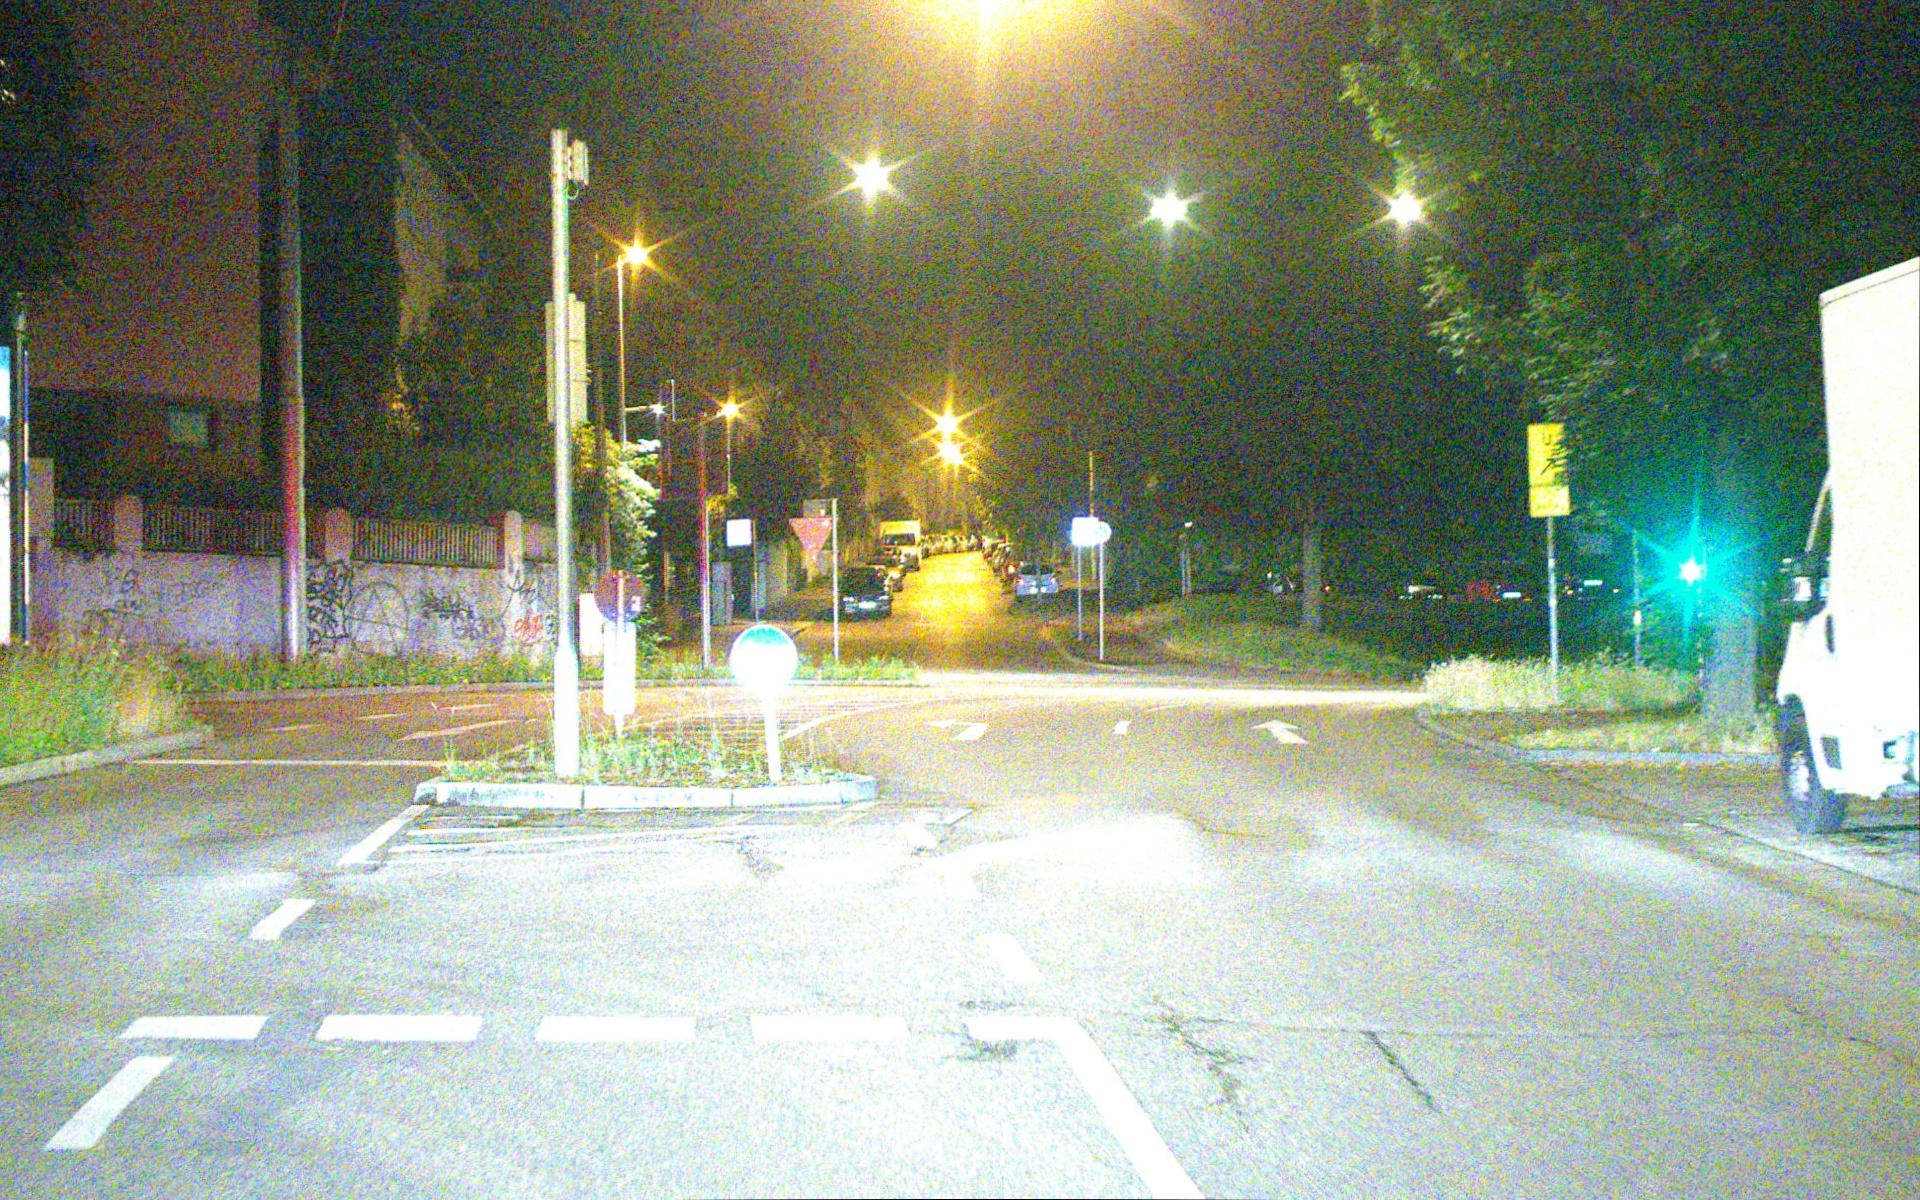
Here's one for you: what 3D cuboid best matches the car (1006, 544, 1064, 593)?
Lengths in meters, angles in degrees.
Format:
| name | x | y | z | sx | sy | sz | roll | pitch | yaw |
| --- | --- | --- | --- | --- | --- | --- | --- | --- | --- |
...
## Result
| name | x | y | z | sx | sy | sz | roll | pitch | yaw |
| --- | --- | --- | --- | --- | --- | --- | --- | --- | --- |
| car | 2.717 | -1.160 | 125.612 | 1.993 | 1.763 | 4.000 | 0 | 1 | 0 |

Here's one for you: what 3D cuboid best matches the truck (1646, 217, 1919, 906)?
| name | x | y | z | sx | sy | sz | roll | pitch | yaw |
| --- | --- | --- | --- | --- | --- | --- | --- | --- | --- |
| truck | 5.592 | -0.212 | 17.126 | 2.764 | 3.034 | 7.036 | -2 | 0 | -1 |
